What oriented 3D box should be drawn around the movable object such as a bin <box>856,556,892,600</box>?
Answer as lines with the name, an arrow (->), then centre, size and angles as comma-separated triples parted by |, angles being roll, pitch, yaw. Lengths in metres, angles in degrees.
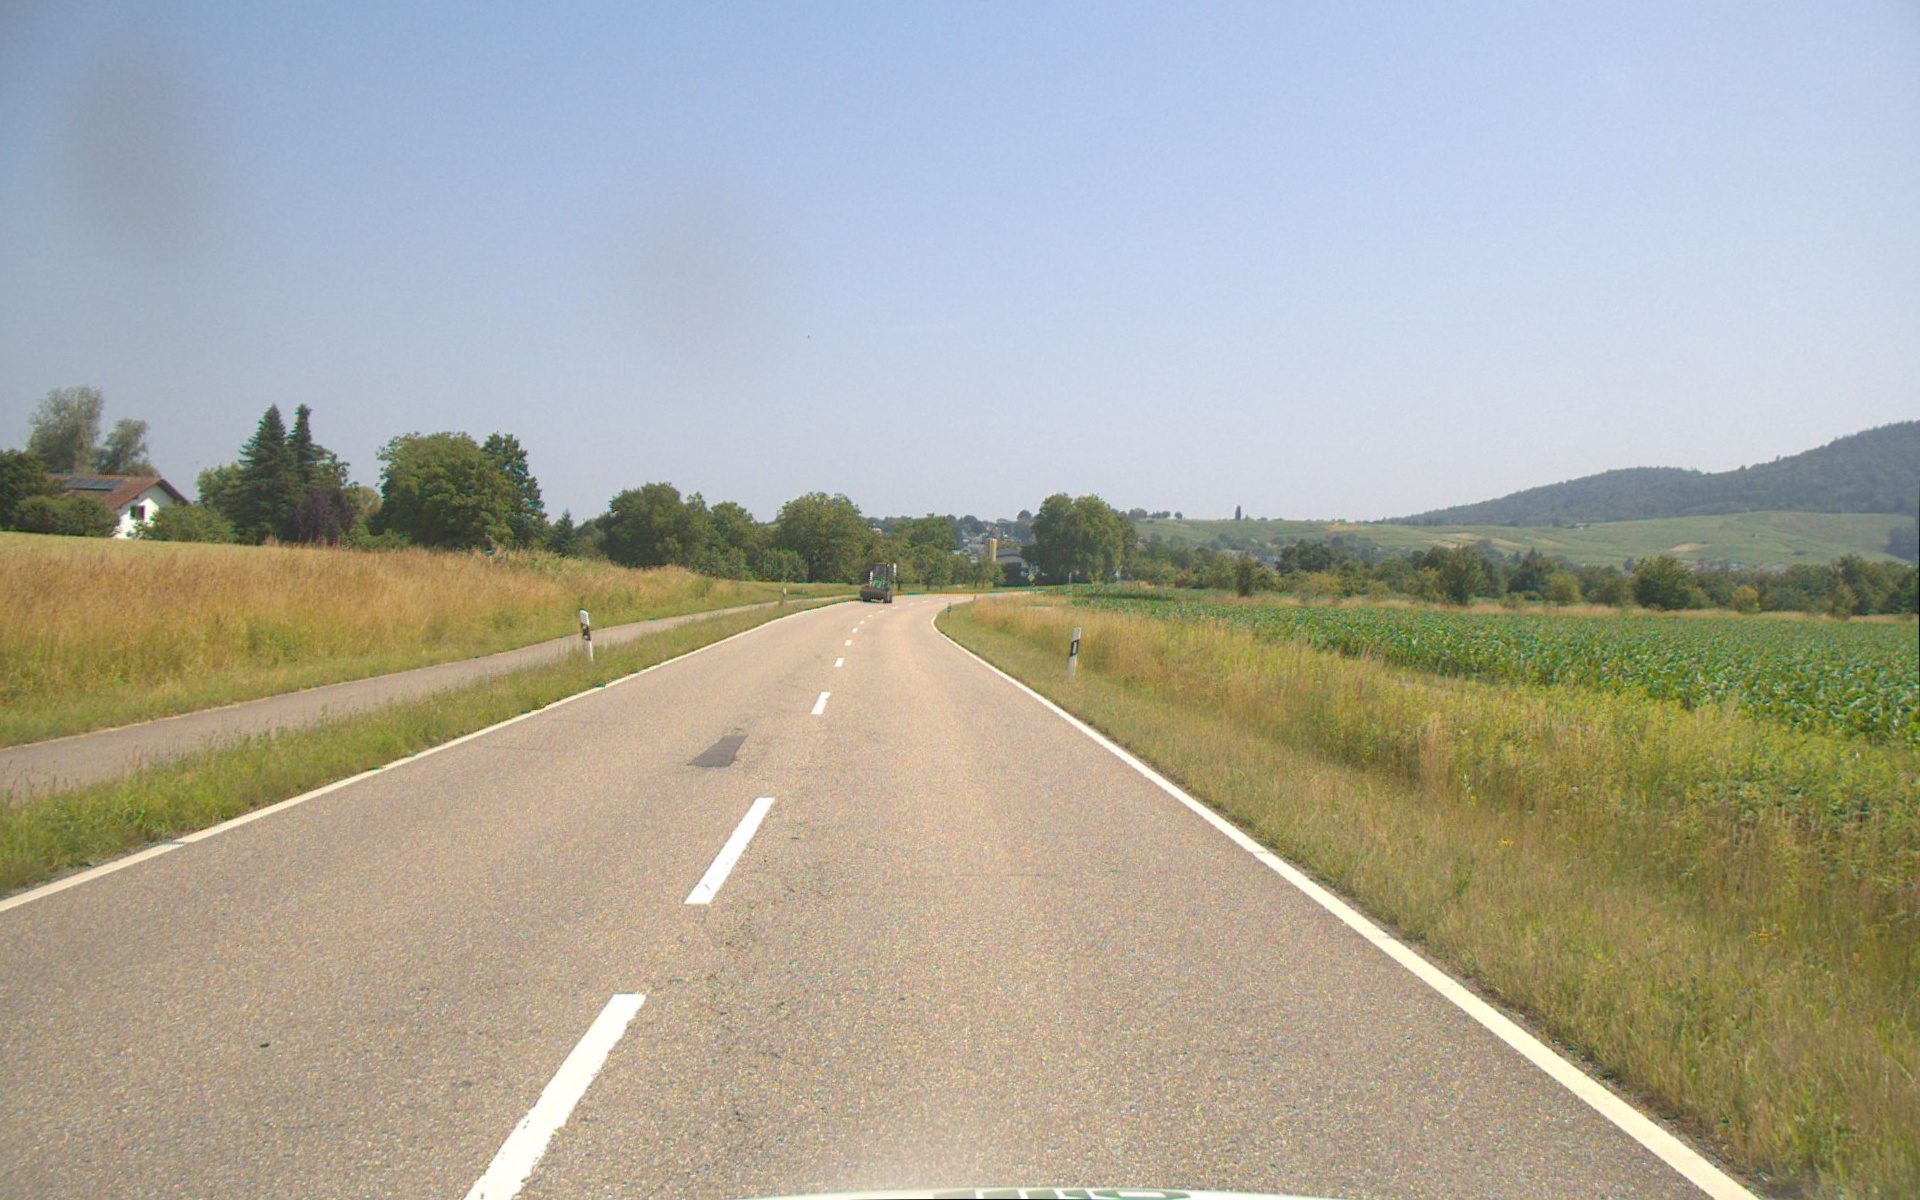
movable object such as a bin -> -5.877, -1.487, 113.621 | 1.960, 2.802, 5.231 | 4, 1, 1
